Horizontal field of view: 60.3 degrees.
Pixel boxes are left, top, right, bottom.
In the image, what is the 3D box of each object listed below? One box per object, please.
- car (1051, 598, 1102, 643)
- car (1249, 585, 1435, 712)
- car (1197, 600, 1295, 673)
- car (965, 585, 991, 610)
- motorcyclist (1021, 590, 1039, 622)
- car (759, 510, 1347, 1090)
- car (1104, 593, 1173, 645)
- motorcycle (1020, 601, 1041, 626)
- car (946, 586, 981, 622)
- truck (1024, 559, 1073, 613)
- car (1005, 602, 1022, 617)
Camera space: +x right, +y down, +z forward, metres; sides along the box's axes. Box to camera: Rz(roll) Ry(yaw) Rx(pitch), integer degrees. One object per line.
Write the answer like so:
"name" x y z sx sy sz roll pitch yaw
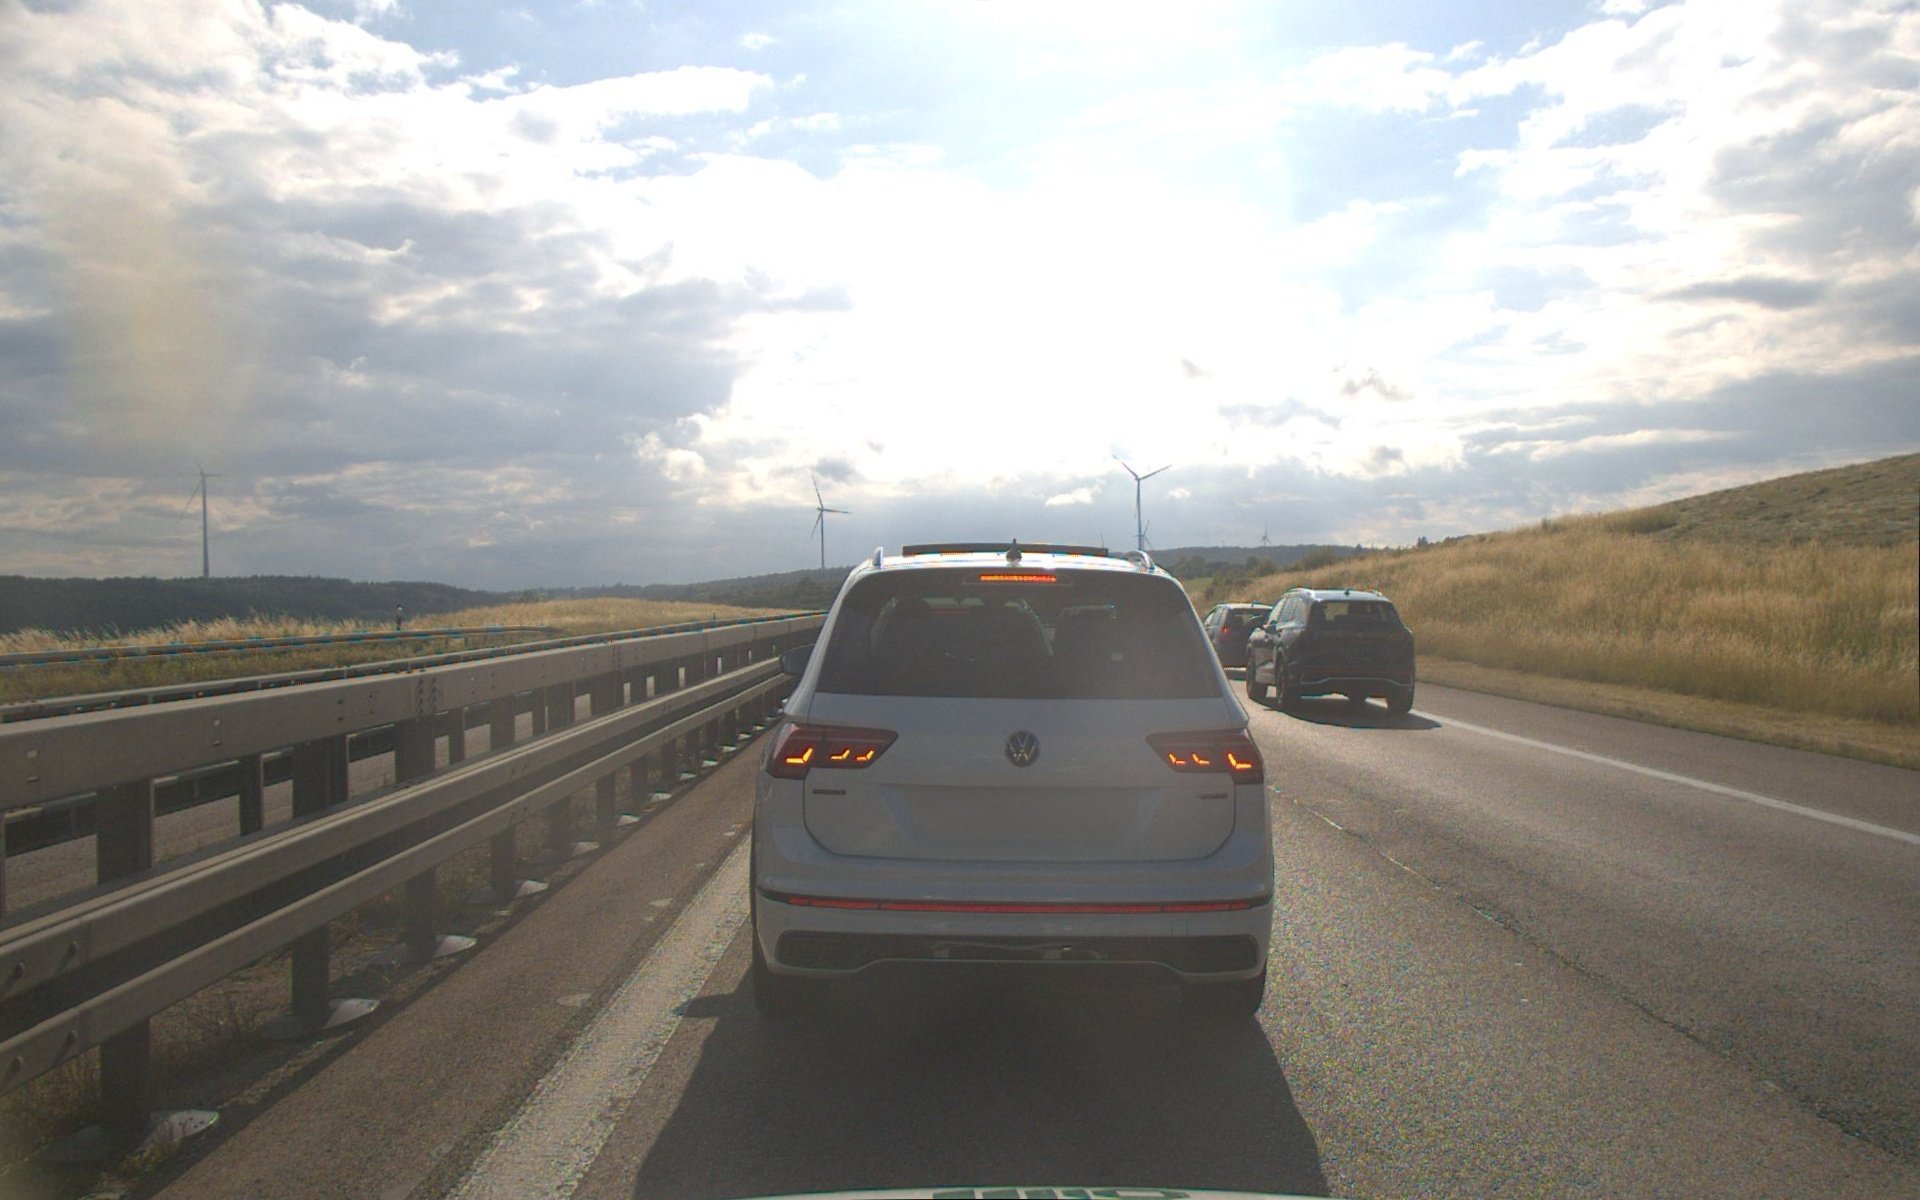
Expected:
"car" 4.471 0.780 63.947 1.669 1.679 3.999 0 0 -1
"car" 5.427 0.649 24.016 1.783 1.629 4.235 2 0 2
"car" 5.925 0.735 34.603 1.572 1.445 3.673 0 0 3
"car" 1.190 -0.154 110.139 1.669 1.573 3.999 0 0 -1
"motorcyclist" 3.462 0.288 81.477 0.832 1.587 0.934 0 0 -2
"car" 0.253 0.597 6.887 1.734 1.705 3.999 0 0 -1
"car" 5.584 0.584 52.104 1.669 1.573 3.999 0 0 -1
"motorcycle" 3.458 0.651 81.520 0.877 1.211 2.256 0 0 -1
"car" 0.145 0.197 80.182 1.669 1.679 3.999 0 0 -1
"truck" 6.276 -1.003 119.173 3.118 3.656 11.132 0 0 1
"car" 5.669 0.960 175.723 1.669 1.573 3.999 0 0 -1
